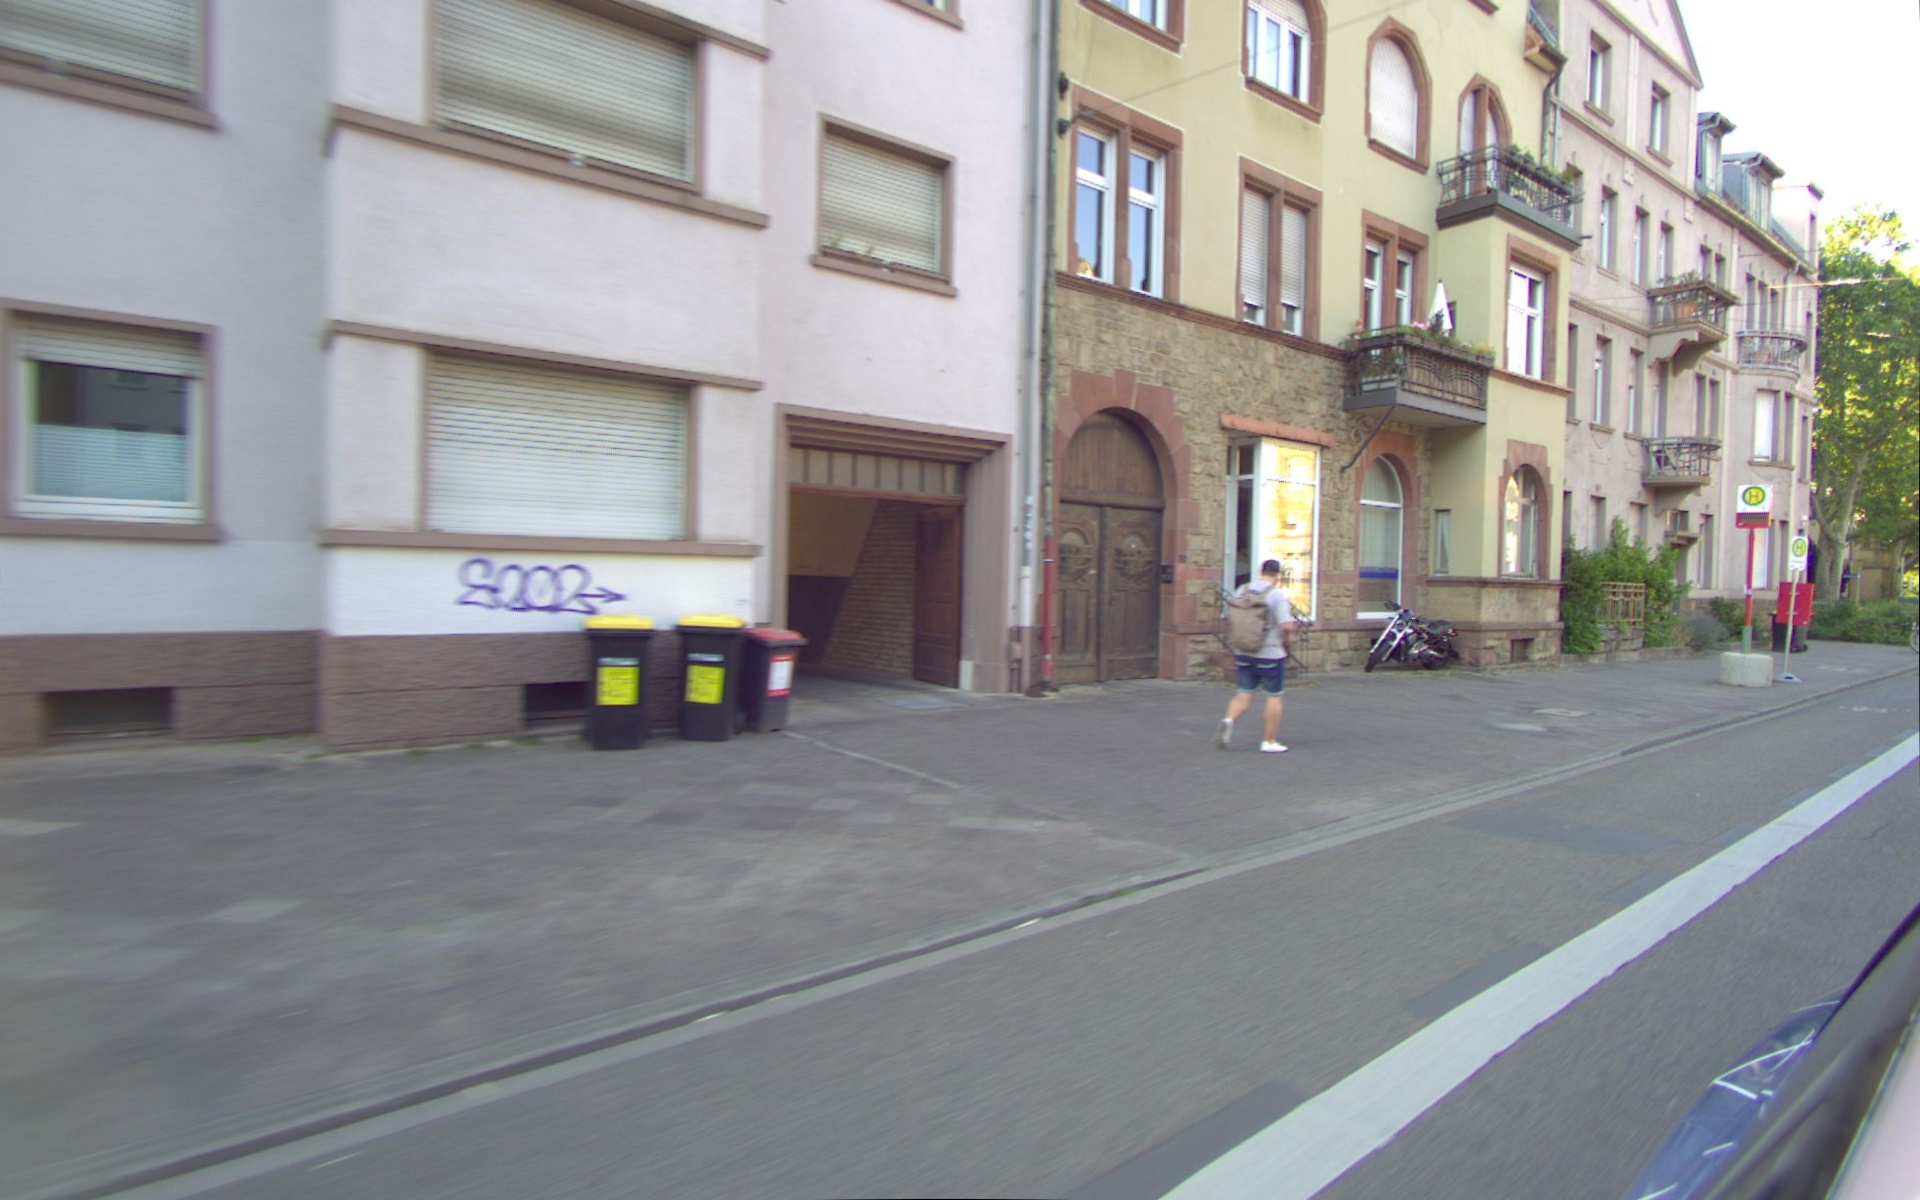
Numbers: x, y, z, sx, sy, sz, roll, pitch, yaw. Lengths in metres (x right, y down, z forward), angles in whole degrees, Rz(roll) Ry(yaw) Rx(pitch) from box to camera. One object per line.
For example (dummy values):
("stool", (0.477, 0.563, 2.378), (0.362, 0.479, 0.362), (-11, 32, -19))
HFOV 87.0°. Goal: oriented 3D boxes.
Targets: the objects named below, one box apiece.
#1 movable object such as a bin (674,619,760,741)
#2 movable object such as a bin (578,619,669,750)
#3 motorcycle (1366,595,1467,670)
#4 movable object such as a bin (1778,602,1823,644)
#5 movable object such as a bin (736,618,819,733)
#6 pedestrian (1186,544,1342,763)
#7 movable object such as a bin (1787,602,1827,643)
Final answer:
("movable object such as a bin", (-2.138, 0.680, 8.882), (0.573, 0.981, 0.556), (-1, 2, -35))
("movable object such as a bin", (-2.746, 0.663, 8.243), (0.573, 0.981, 0.556), (-1, 2, -35))
("motorcycle", (7.837, 0.511, 17.296), (2.462, 1.151, 0.591), (-1, 2, -41))
("movable object such as a bin", (22.050, 0.604, 26.552), (0.645, 1.059, 0.659), (0, 2, -24))
("movable object such as a bin", (-1.693, 0.676, 9.380), (0.573, 0.981, 0.556), (-1, 2, -35))
("pedestrian", (2.744, 0.425, 9.137), (1.129, 1.835, 0.831), (-1, 2, -38))
("movable object such as a bin", (22.586, 0.590, 26.976), (0.645, 1.059, 0.572), (0, 2, -24))
